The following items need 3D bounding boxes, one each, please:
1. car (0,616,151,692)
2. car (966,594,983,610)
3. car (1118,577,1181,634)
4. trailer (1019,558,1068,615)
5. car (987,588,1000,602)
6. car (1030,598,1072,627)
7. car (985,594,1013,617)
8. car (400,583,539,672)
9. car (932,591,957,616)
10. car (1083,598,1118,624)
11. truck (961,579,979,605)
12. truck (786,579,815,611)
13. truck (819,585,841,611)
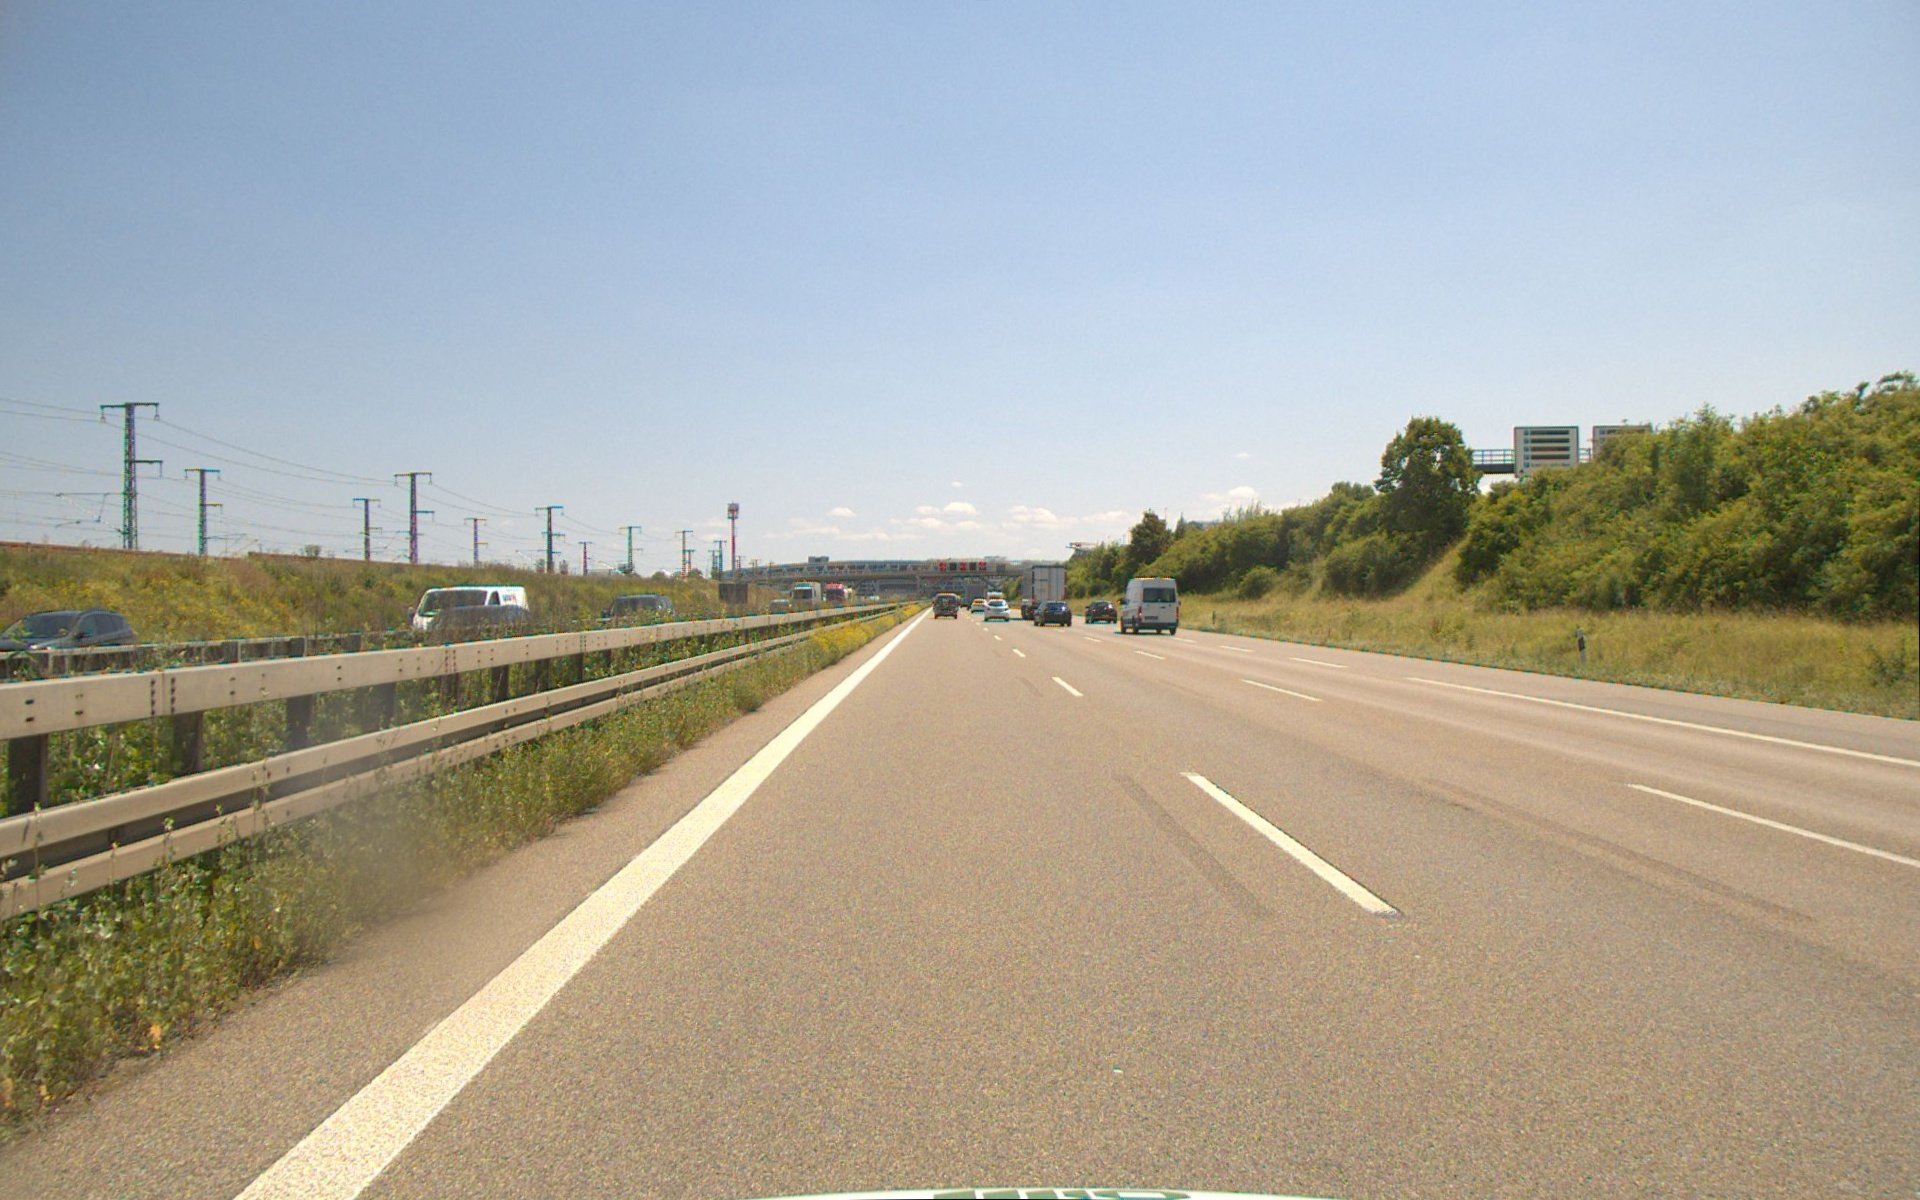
[{"bbox_3d":[-19.833,1.150,36.573,1.878,1.541,4.237,-1,0,-1],"label":"car"},{"bbox_3d":[1.564,0.222,176.929,1.842,1.553,4.000,1,-1,0],"label":"car"},{"bbox_3d":[8.893,0.257,78.109,2.228,2.572,5.398,0,0,-2],"label":"car"},{"bbox_3d":[6.291,-0.979,126.156,3.112,4.130,9.438,-1,0,0],"label":"trailer"},{"bbox_3d":[5.119,-0.734,253.947,1.952,2.049,4.437,0,0,1],"label":"car"},{"bbox_3d":[5.266,0.737,95.936,1.954,1.534,3.997,2,-1,-3],"label":"car"},{"bbox_3d":[2.689,0.383,114.058,1.841,1.553,4.001,1,-1,2],"label":"car"},{"bbox_3d":[-12.127,0.635,41.277,1.953,2.049,5.431,0,0,-1],"label":"car"},{"bbox_3d":[-1.192,0.256,124.566,1.842,1.806,3.999,0,-1,-1],"label":"car"},{"bbox_3d":[9.430,0.770,111.243,1.953,1.624,3.999,2,-1,-1],"label":"car"},{"bbox_3d":[1.332,-1.055,225.465,2.307,3.476,6.056,0,0,0],"label":"truck"},{"bbox_3d":[-17.892,-0.535,186.165,2.731,3.447,4.713,2,0,0],"label":"truck"},{"bbox_3d":[-18.679,-0.289,237.332,2.731,3.583,4.713,2,0,0],"label":"truck"}]
